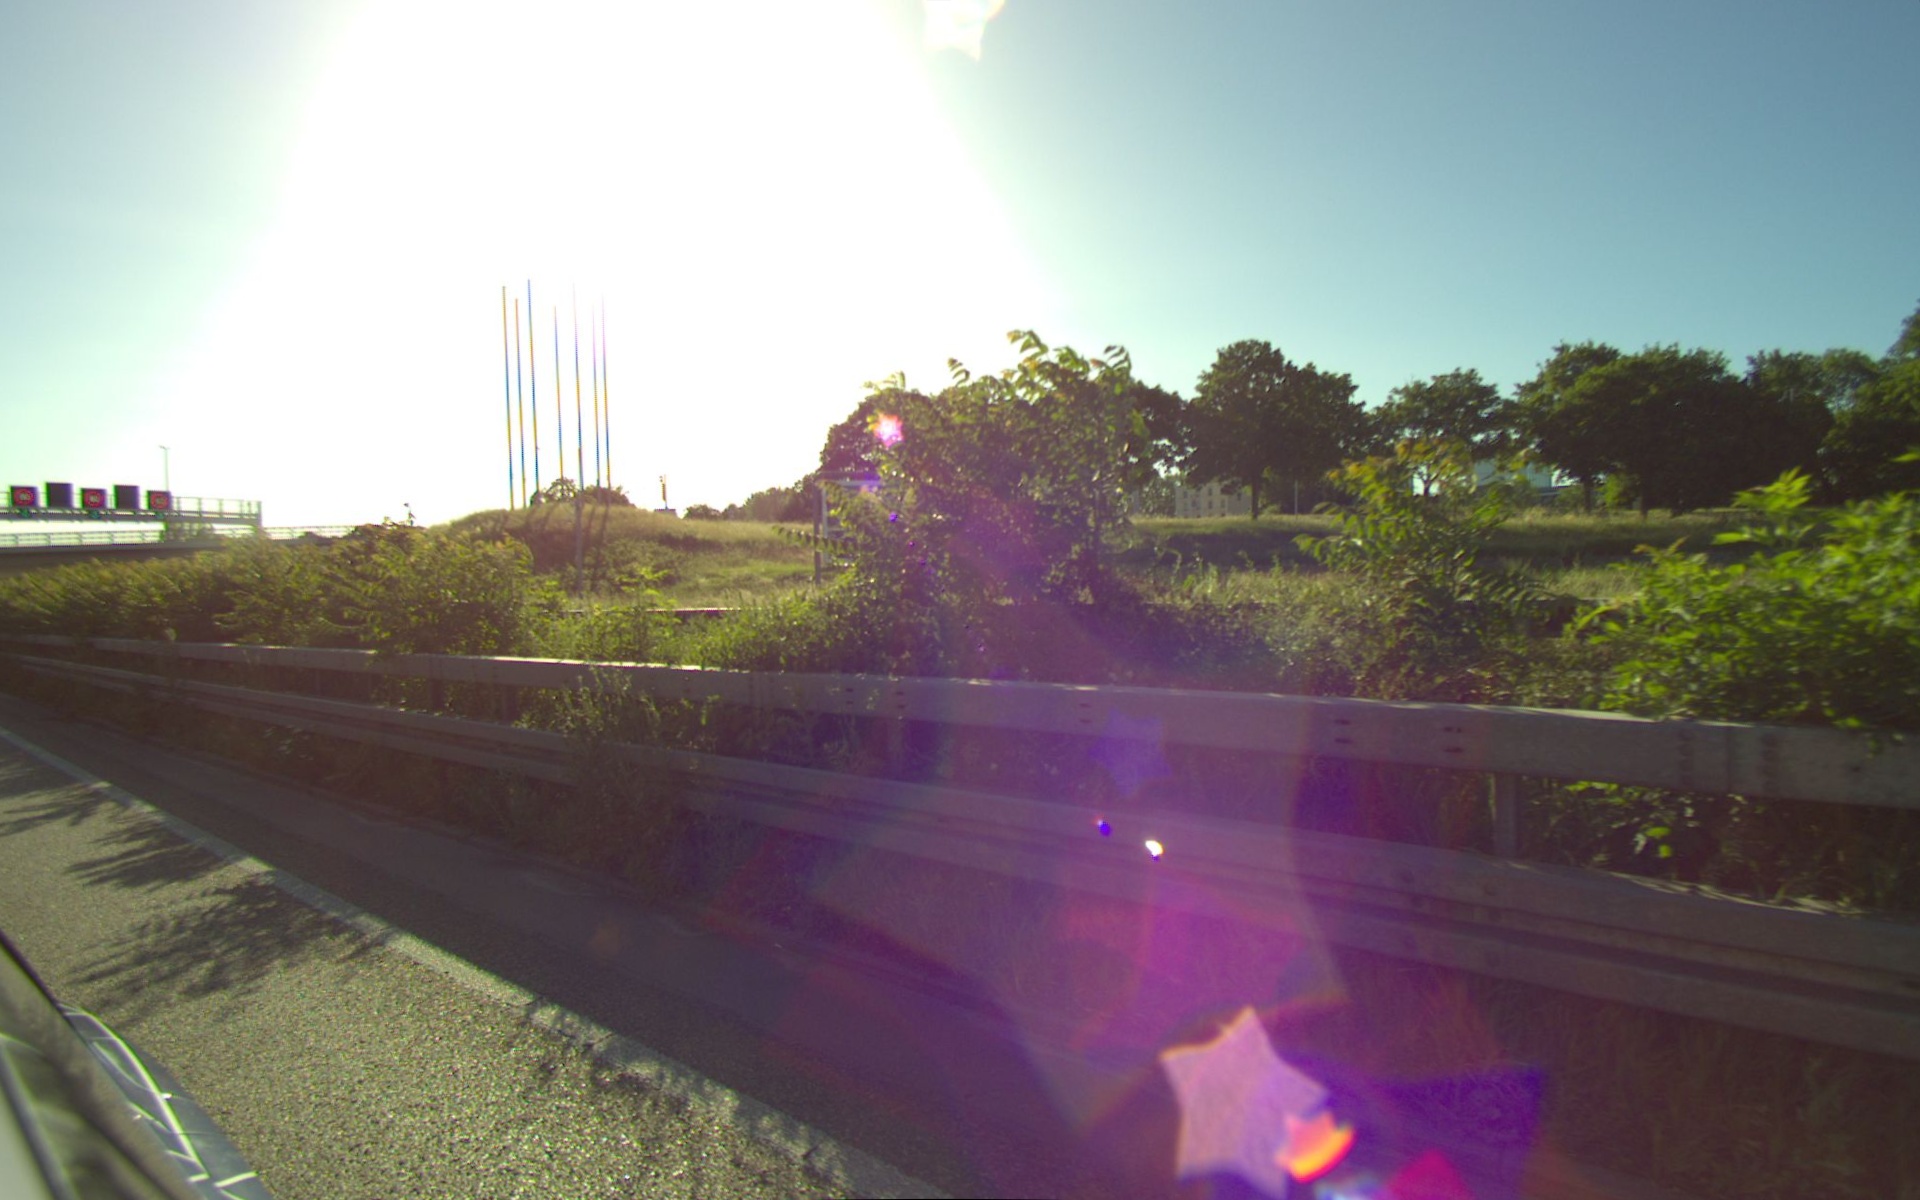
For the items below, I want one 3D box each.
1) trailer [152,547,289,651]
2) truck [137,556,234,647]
[{"bbox_3d":[-33.081,0.053,45.044,10.695,4.154,2.621,-2,0,42],"label":"trailer"},{"bbox_3d":[-37.602,0.118,49.073,5.559,4.154,2.621,-2,0,41],"label":"truck"}]
